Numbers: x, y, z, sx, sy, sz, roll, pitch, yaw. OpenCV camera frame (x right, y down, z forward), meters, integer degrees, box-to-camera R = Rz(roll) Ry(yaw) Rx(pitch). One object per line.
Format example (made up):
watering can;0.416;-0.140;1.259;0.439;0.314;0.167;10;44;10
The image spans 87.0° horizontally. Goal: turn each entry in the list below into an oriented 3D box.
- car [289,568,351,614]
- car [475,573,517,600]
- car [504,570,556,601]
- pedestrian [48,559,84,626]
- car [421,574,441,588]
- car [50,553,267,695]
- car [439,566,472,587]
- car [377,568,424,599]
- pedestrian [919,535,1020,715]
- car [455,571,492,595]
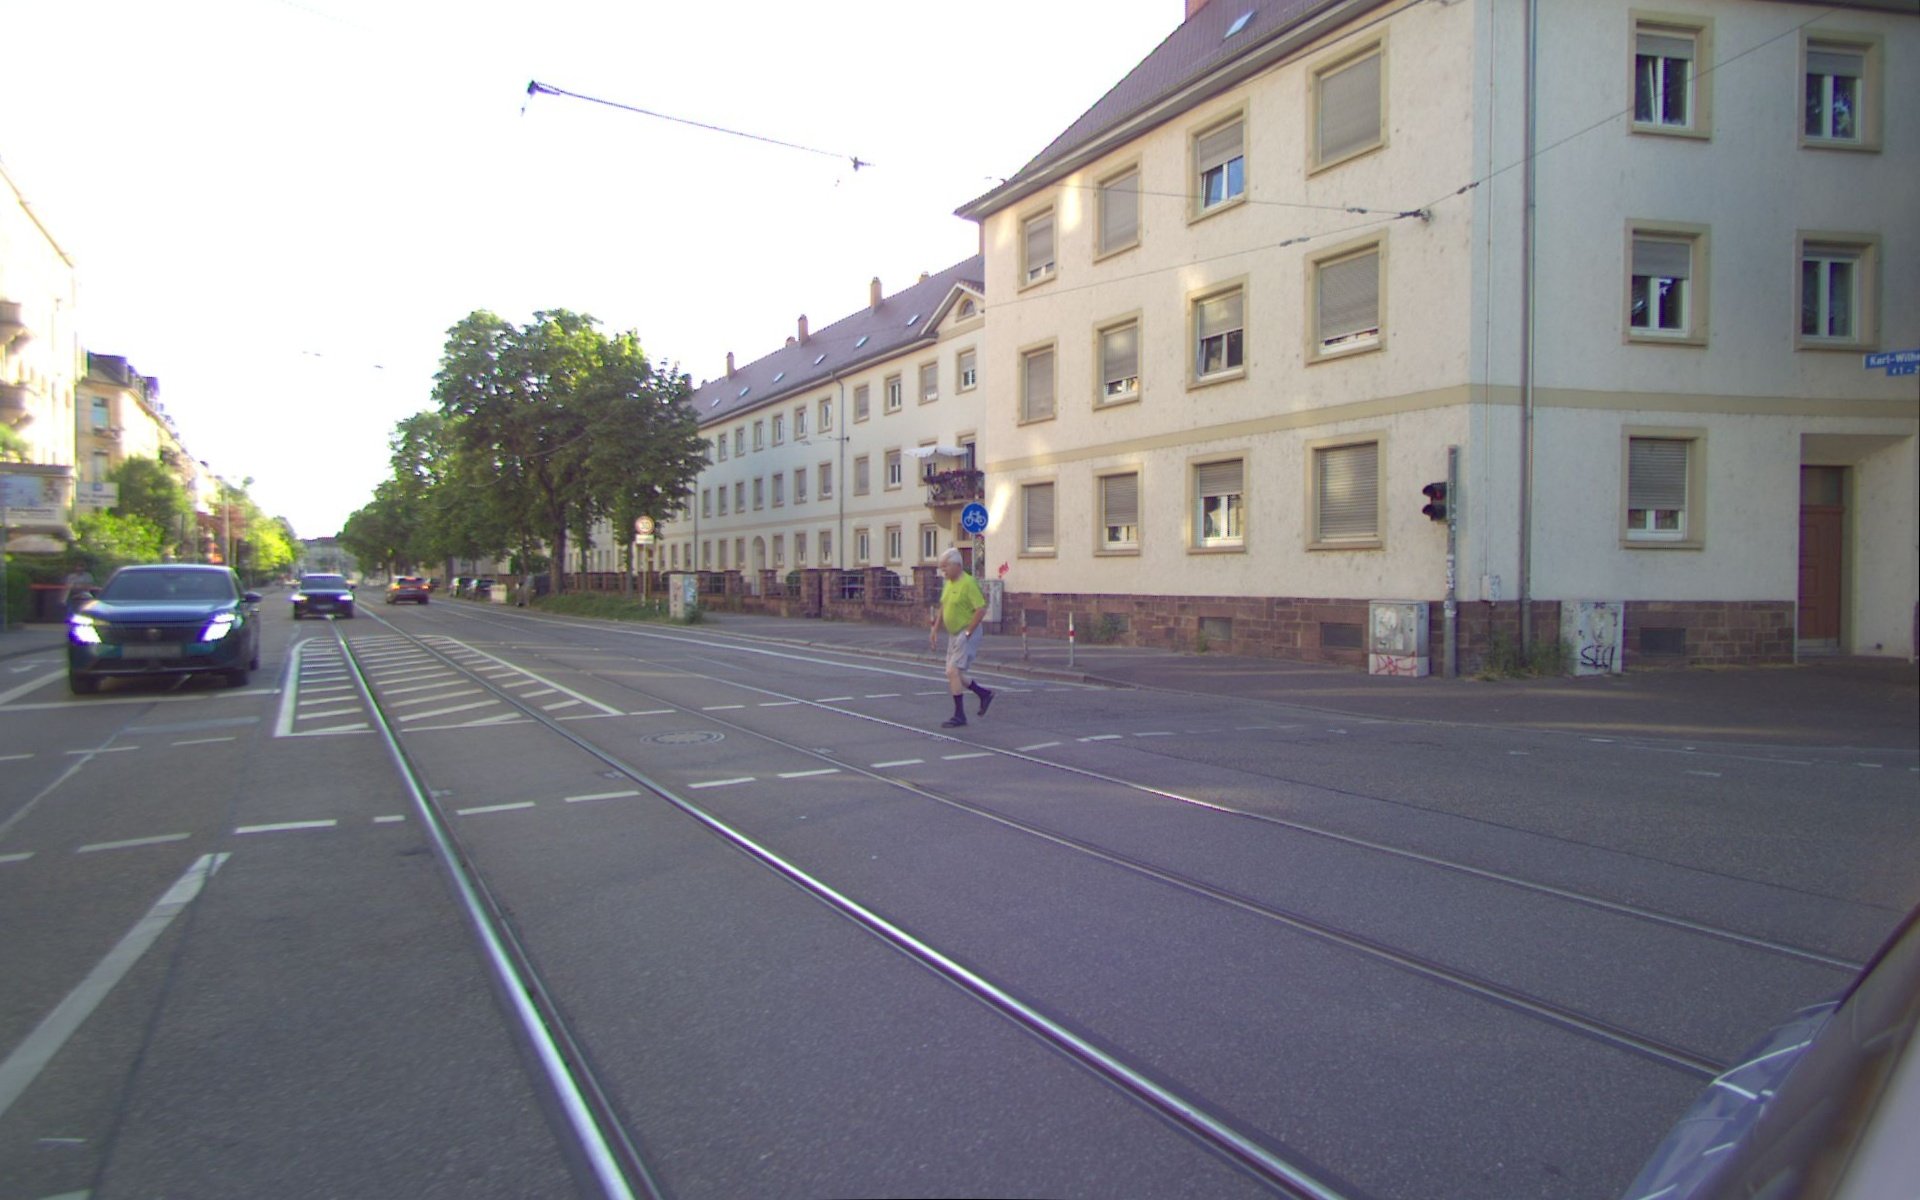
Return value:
car;-22.918;-0.355;36.201;1.509;1.543;3.473;-1;2;-39
car;-28.389;-0.872;61.875;1.570;1.557;3.890;-1;2;-36
car;-21.414;-0.733;50.352;1.524;1.458;3.835;-1;2;-36
pedestrian;-22.286;-0.200;25.231;0.515;1.661;0.496;-1;2;-22
car;-49.017;-1.794;93.785;1.416;1.264;3.318;-1;2;-32
car;-11.041;0.197;14.260;1.911;1.670;4.413;-1;2;-32
car;-38.206;-1.789;76.550;1.570;1.557;3.890;-1;2;-36
car;-30.617;-0.951;55.325;1.938;1.605;4.478;-2;3;-33
pedestrian;0.110;0.241;10.335;0.875;1.749;0.642;2;-1;12
car;-32.826;-1.188;68.218;1.570;1.557;3.890;-1;2;-36
